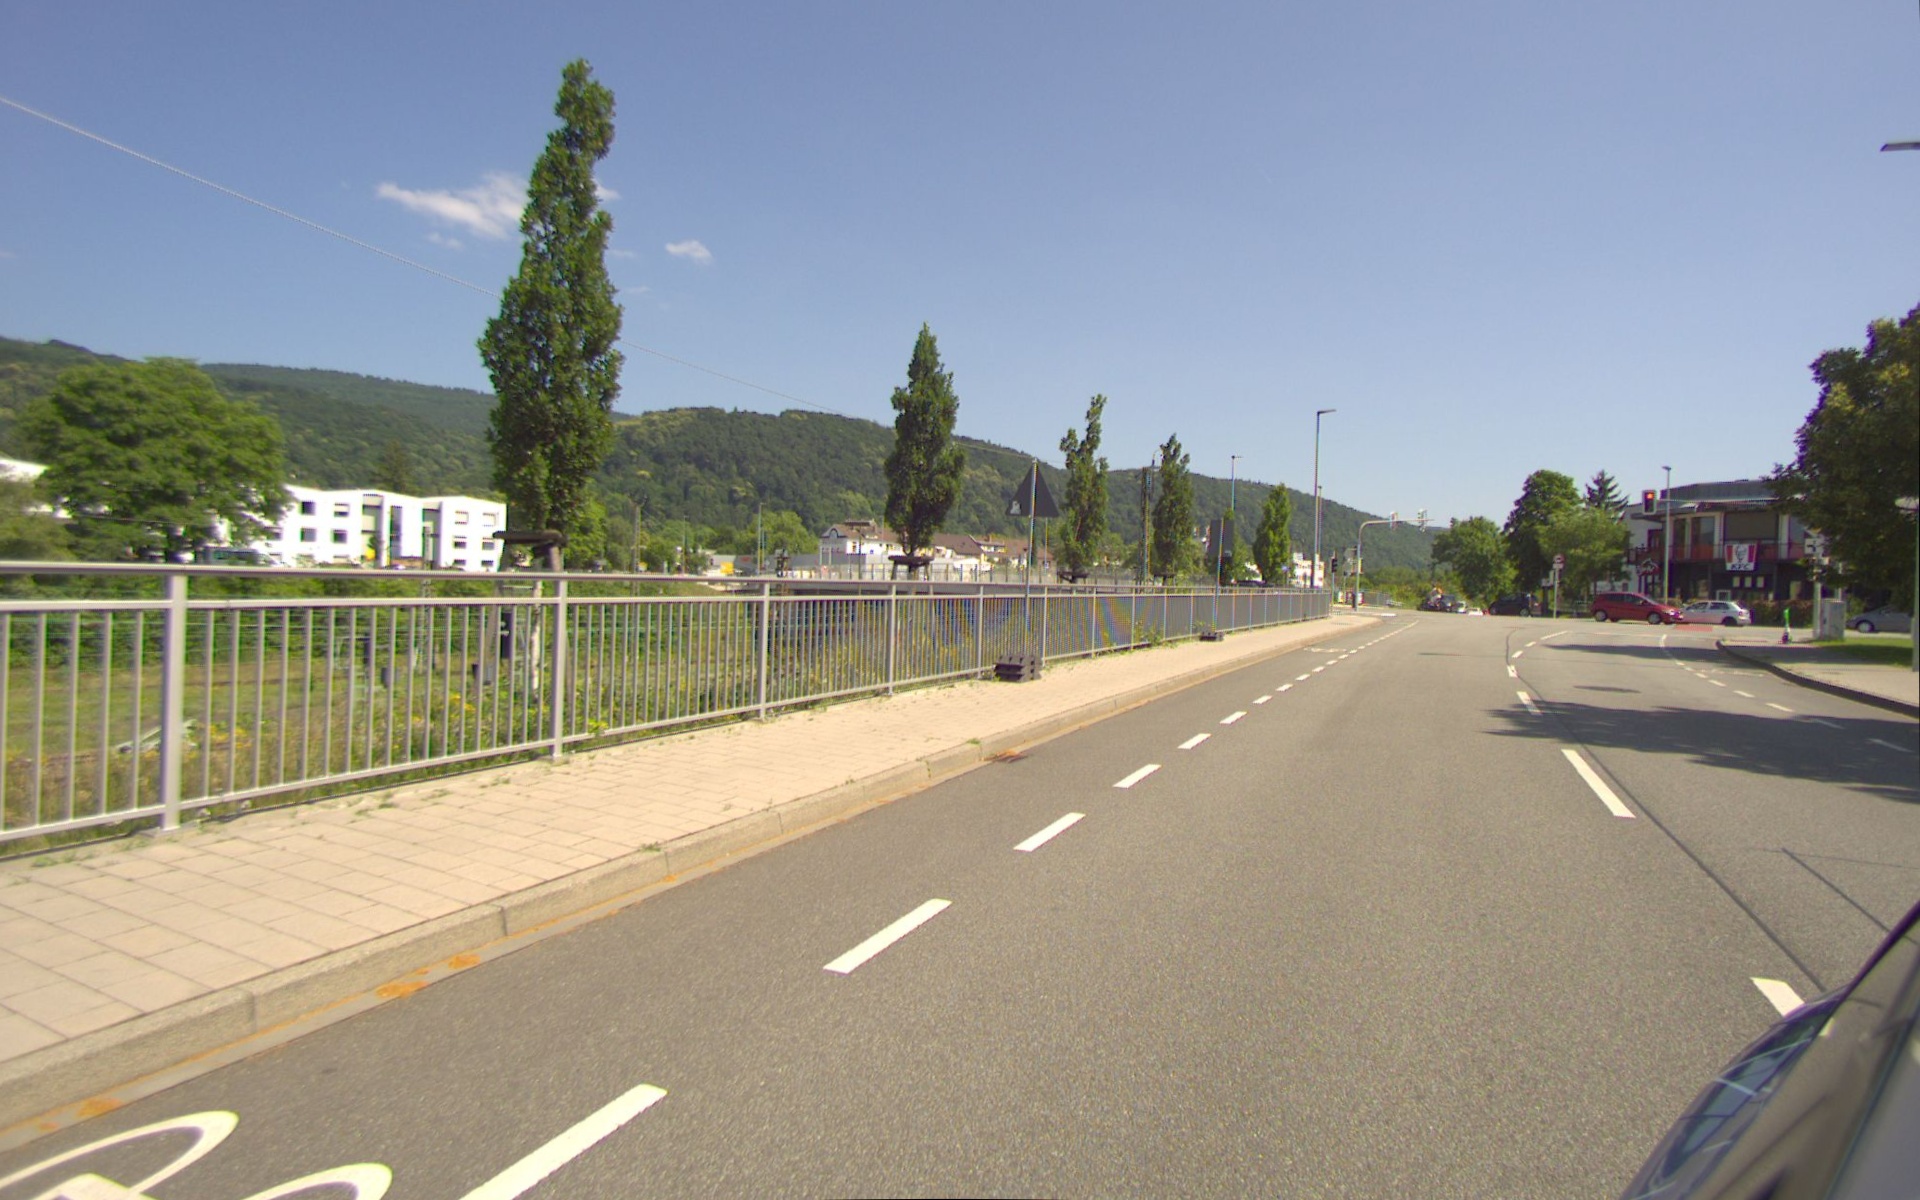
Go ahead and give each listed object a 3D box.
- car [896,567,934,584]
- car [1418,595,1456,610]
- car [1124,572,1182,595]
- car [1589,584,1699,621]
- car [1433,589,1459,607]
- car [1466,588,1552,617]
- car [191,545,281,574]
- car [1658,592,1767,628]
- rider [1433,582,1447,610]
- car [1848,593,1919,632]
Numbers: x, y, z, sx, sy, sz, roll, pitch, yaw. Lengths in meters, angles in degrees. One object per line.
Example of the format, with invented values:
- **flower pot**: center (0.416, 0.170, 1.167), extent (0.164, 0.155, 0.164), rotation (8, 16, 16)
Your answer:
- **car**: center (-4.748, -2.615, 106.250), extent (1.797, 1.672, 4.583), rotation (-3, 4, -34)
- **car**: center (32.636, 0.191, 69.272), extent (0.565, 0.913, 2.382), rotation (-3, 4, -37)
- **car**: center (15.463, -1.374, 81.242), extent (1.797, 1.672, 4.771), rotation (-3, 4, -33)
- **car**: center (35.354, 0.091, 52.398), extent (1.799, 1.699, 4.368), rotation (-3, 4, -38)
- **car**: center (37.475, -0.191, 78.049), extent (1.593, 1.271, 3.654), rotation (2, 1, 23)
- **car**: center (33.888, 0.130, 62.567), extent (1.798, 1.509, 4.370), rotation (-3, 4, -37)
- **car**: center (-58.441, -3.289, 81.790), extent (2.121, 2.129, 5.450), rotation (-4, 0, 35)
- **car**: center (40.445, 0.497, 54.462), extent (1.798, 1.646, 4.370), rotation (-3, 4, -37)
- **rider**: center (32.767, -0.274, 69.057), extent (0.538, 1.835, 0.685), rotation (-3, 3, -38)
- **car**: center (45.249, 0.592, 48.054), extent (1.798, 1.646, 4.369), rotation (-3, 4, -37)
